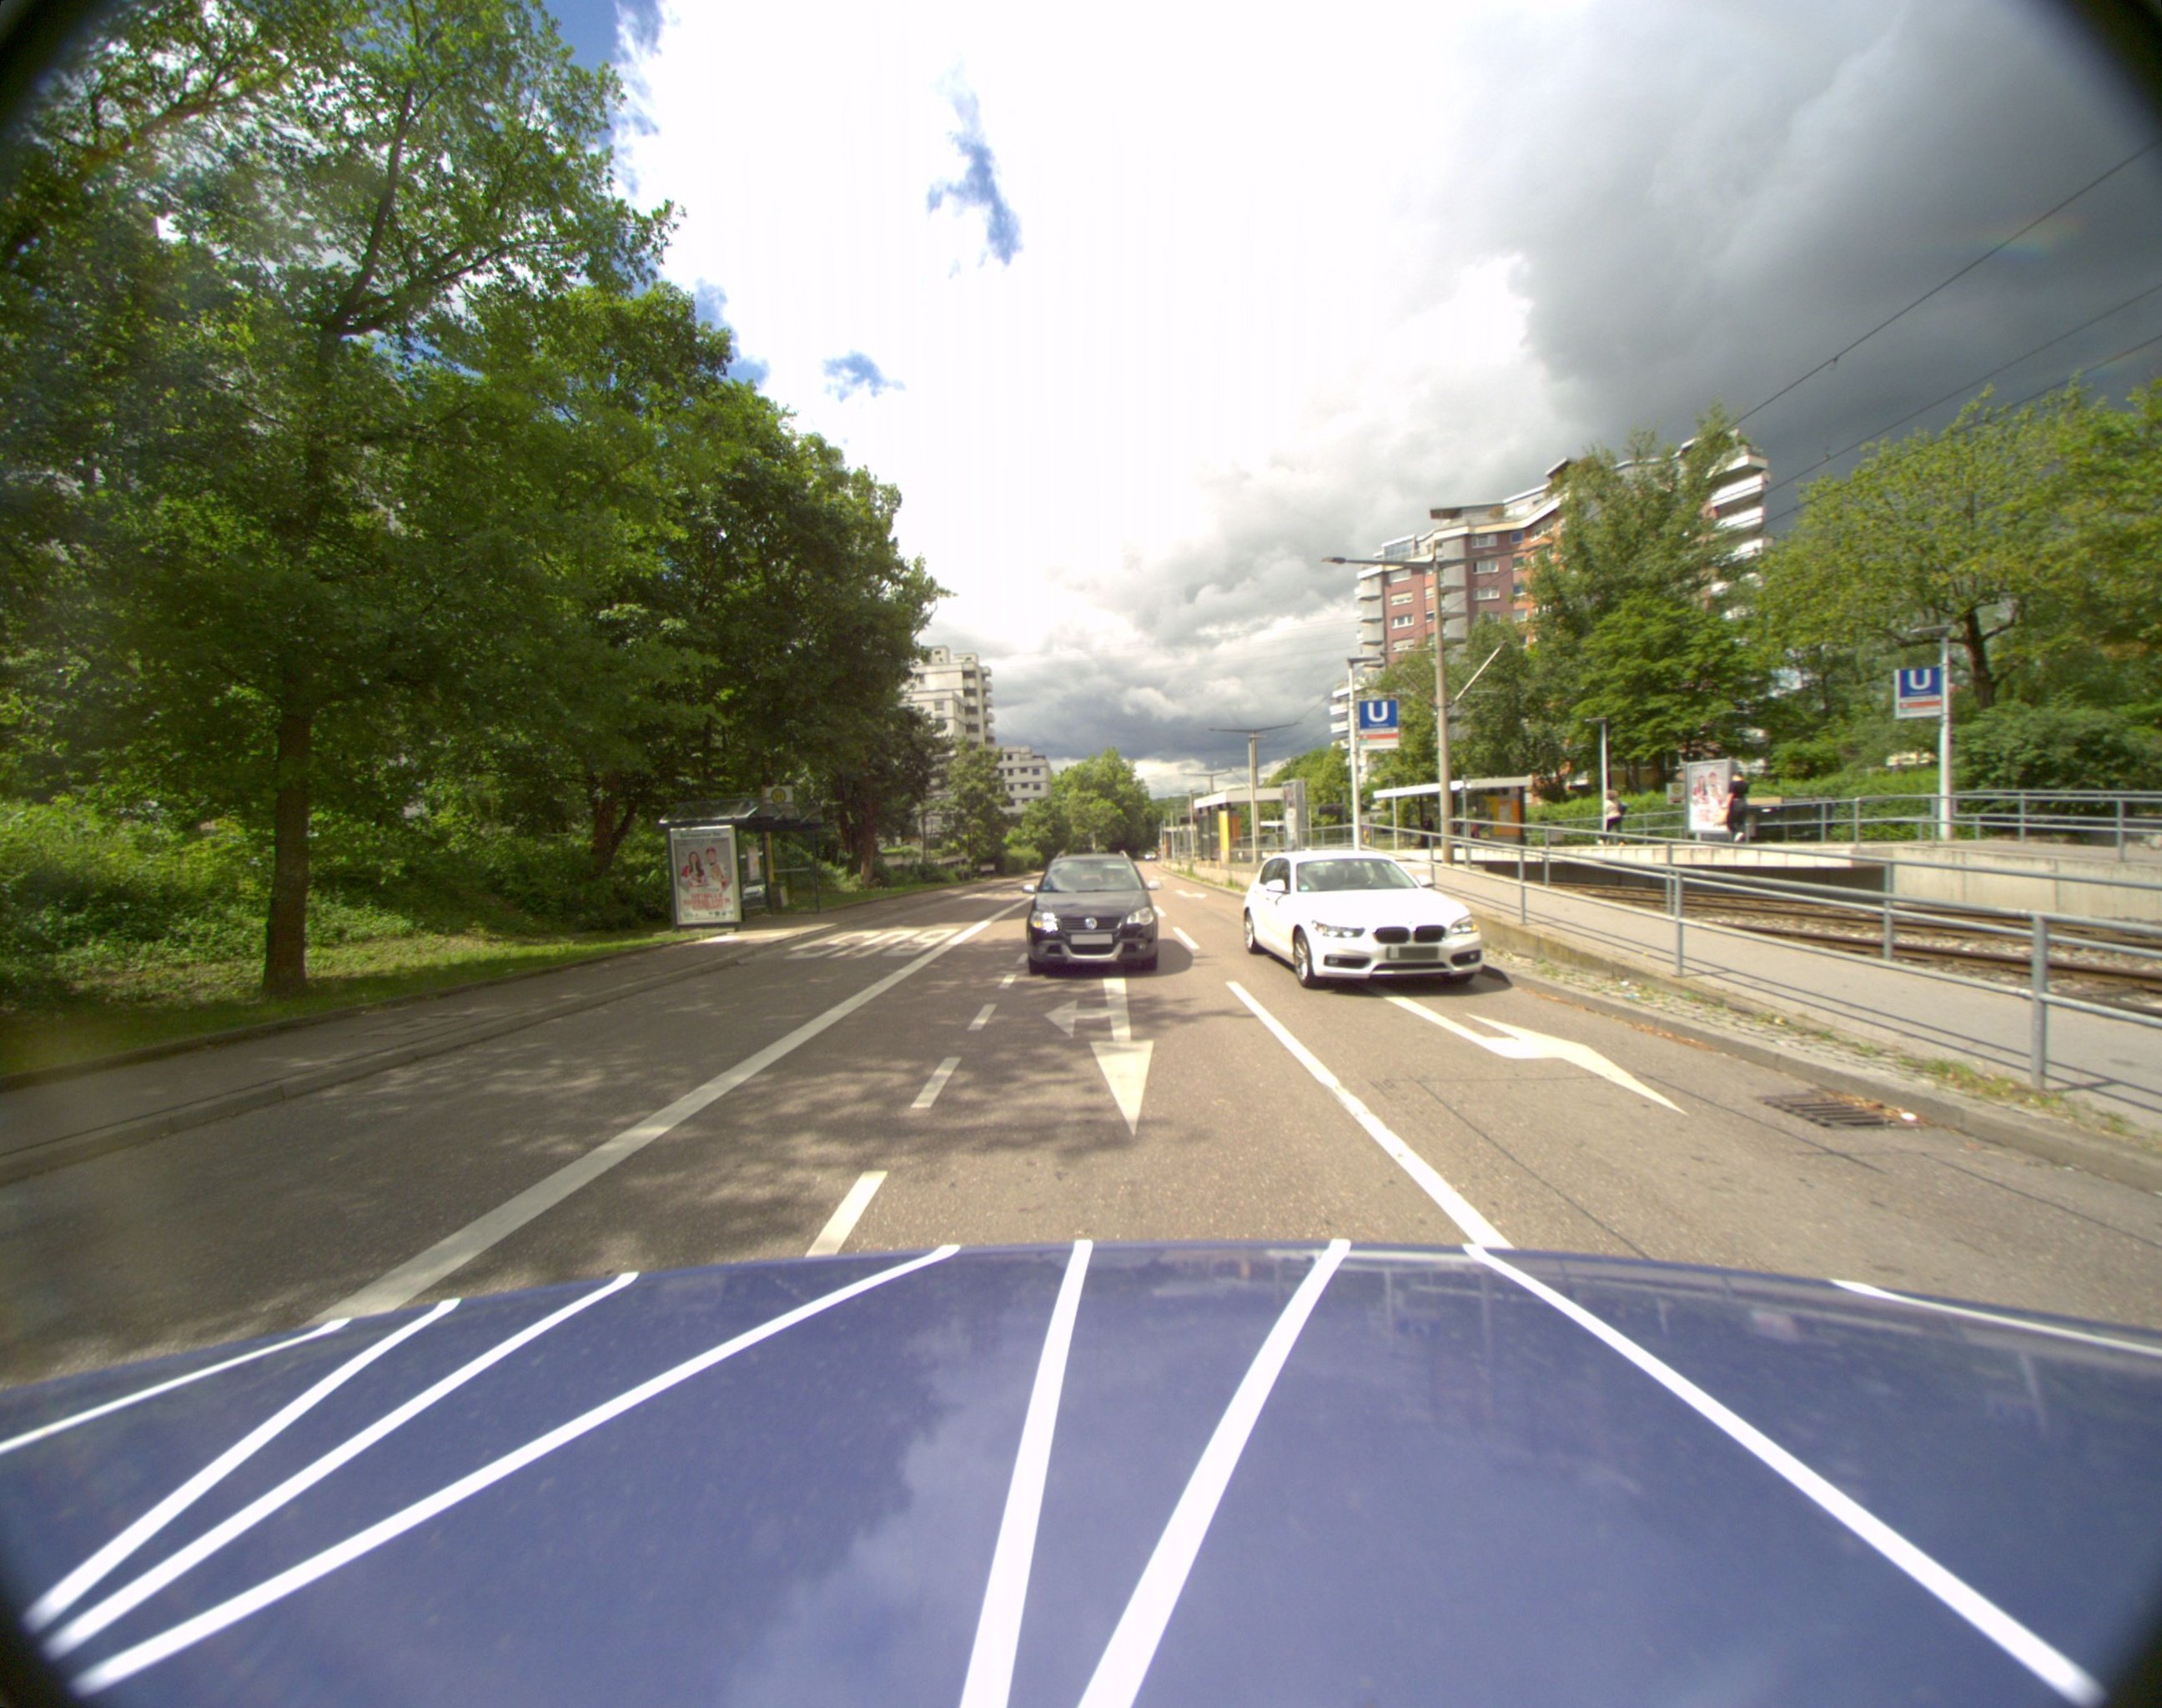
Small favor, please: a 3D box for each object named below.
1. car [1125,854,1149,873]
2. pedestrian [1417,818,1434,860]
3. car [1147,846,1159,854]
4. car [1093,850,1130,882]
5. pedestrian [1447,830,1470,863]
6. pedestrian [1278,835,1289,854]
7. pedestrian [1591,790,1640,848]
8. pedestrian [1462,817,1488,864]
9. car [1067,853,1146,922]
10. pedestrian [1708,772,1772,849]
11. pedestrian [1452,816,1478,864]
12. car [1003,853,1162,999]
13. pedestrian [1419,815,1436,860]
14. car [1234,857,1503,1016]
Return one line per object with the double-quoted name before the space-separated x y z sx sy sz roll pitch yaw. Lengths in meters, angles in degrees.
"car" 4.620 0.742 62.702 1.845 1.409 4.000 -2 1 4
"pedestrian" 16.763 -0.743 36.991 0.517 2.002 0.557 -2 2 1
"car" 11.479 -0.646 121.903 1.805 1.208 4.022 -2 1 5
"car" 1.615 0.619 41.152 1.846 1.553 3.999 -2 1 1
"pedestrian" 16.659 -0.343 33.554 0.645 1.407 0.658 -2 2 1
"pedestrian" 18.551 -0.844 69.613 0.774 1.696 0.766 -2 2 9
"pedestrian" 15.402 -0.991 21.897 0.865 1.597 0.747 -2 2 0
"pedestrian" 16.377 -0.562 31.593 0.771 1.921 0.573 -2 2 -1
"car" 0.666 0.787 19.797 1.819 1.483 3.999 1 2 2
"pedestrian" 15.718 -1.024 18.138 0.865 1.764 0.747 -2 2 0
"pedestrian" 16.443 -0.609 32.528 0.780 2.002 0.584 -2 2 1
"car" 0.207 0.817 10.423 1.681 1.529 3.794 -2 1 7
"pedestrian" 16.650 -0.772 36.481 0.532 2.129 0.608 -2 2 4
"car" 3.119 0.779 9.252 1.793 1.442 4.276 0 0 2
